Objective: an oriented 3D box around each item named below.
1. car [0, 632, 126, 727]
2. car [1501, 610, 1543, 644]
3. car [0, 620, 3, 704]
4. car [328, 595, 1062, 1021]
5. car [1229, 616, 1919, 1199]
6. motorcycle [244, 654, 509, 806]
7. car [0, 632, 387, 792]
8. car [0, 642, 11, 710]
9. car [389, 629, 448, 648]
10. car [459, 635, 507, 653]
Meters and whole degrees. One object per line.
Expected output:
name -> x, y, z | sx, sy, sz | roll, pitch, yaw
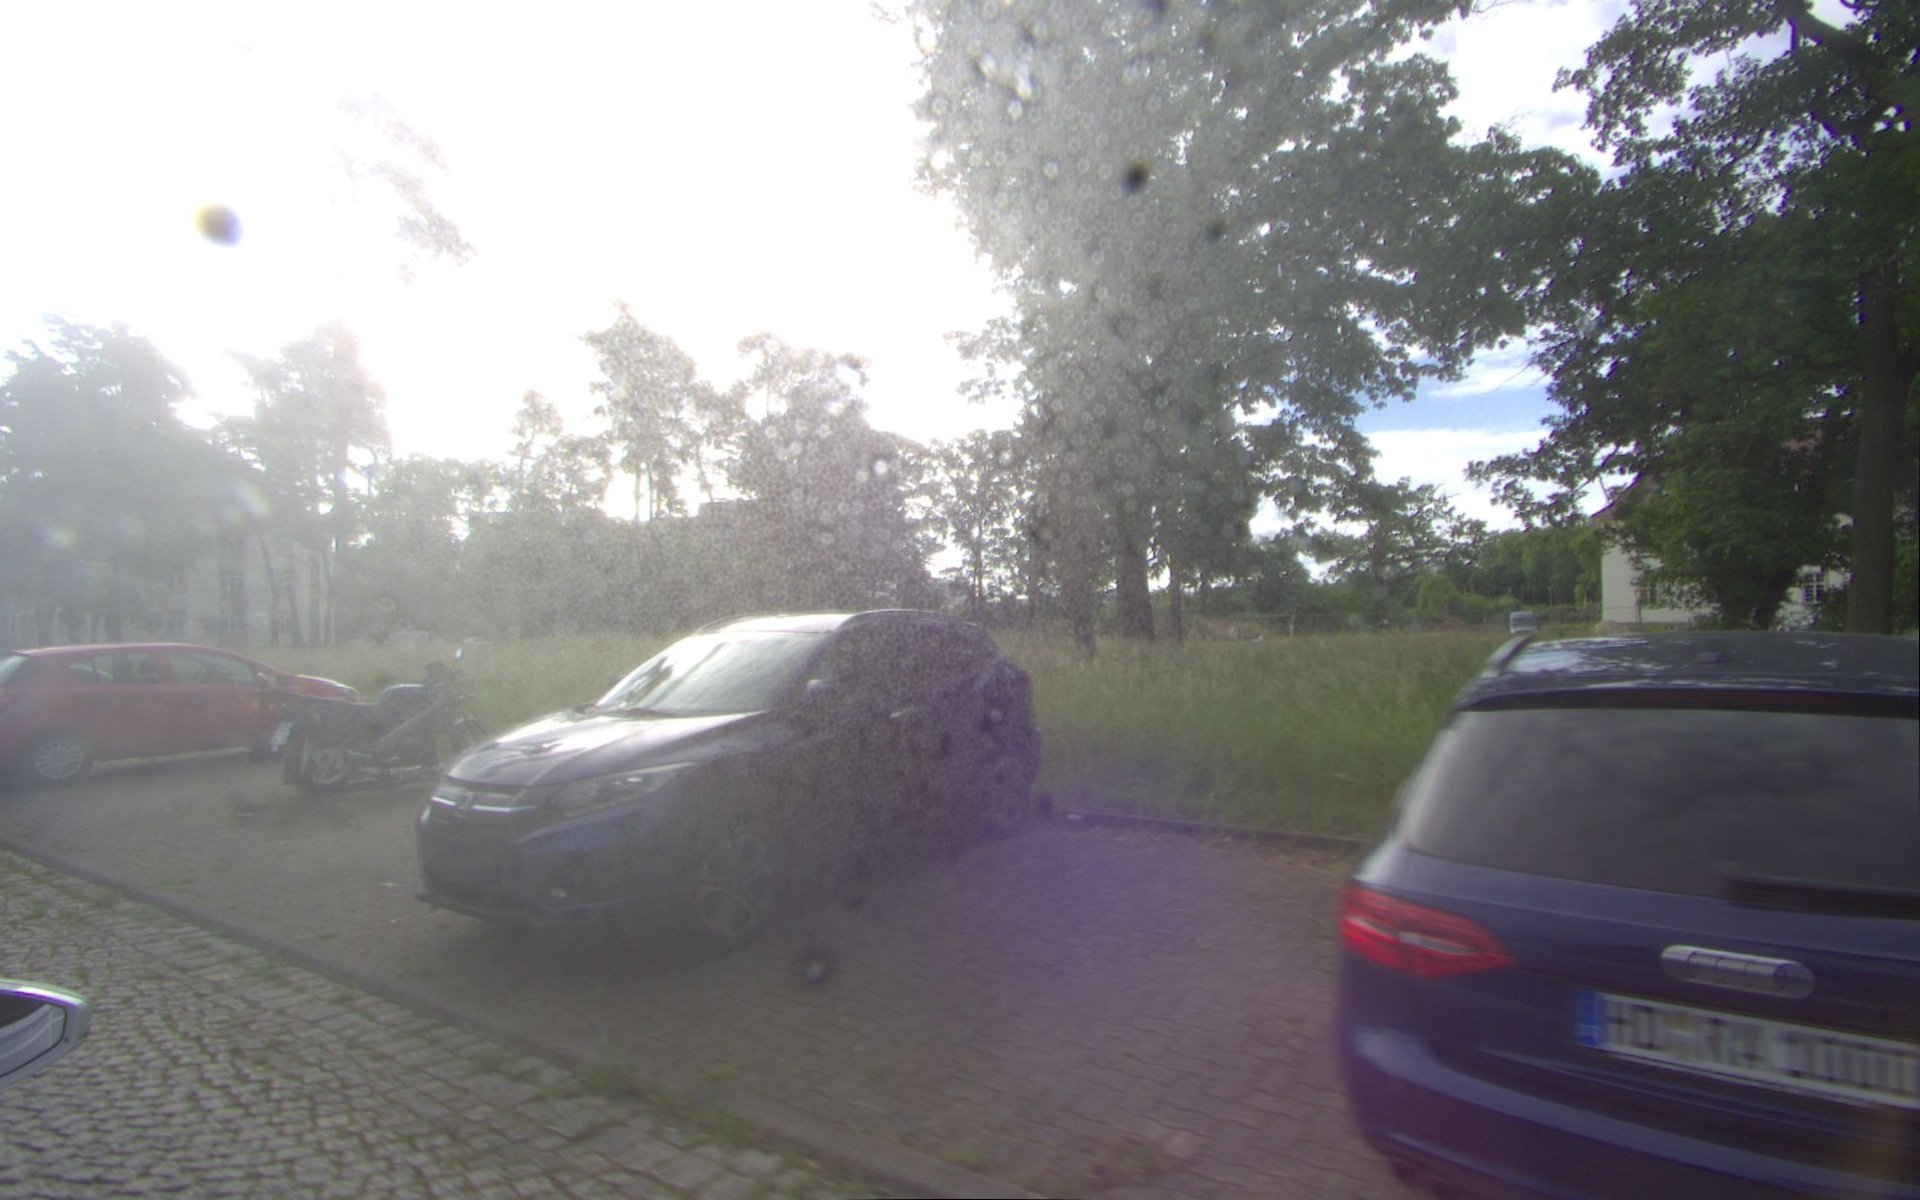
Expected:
car -> -17.819, 1.440, 17.804 | 1.925, 1.616, 4.195 | -1, -1, 32
car -> 46.258, 2.301, 82.553 | 2.239, 2.673, 5.671 | -1, -3, 22
car -> -25.165, 1.523, 22.612 | 1.938, 2.030, 4.786 | -1, -1, 32
car -> -1.158, 0.831, 6.162 | 1.860, 1.644, 4.236 | -1, -1, 32
car -> 2.640, 0.828, 3.427 | 1.901, 1.458, 4.343 | -2, -1, 36
motorcycle -> -5.608, 1.189, 9.809 | 0.560, 1.217, 2.225 | -1, 0, 32
car -> -9.400, 1.199, 12.112 | 1.760, 1.516, 3.915 | -1, -1, 32
car -> -23.103, 1.719, 21.174 | 1.697, 1.498, 4.091 | -1, -1, 31
car -> -58.782, 4.195, 108.743 | 2.078, 2.044, 5.288 | -2, -3, 35
car -> -49.397, 4.589, 103.722 | 1.875, 1.826, 4.122 | -2, -3, 36
